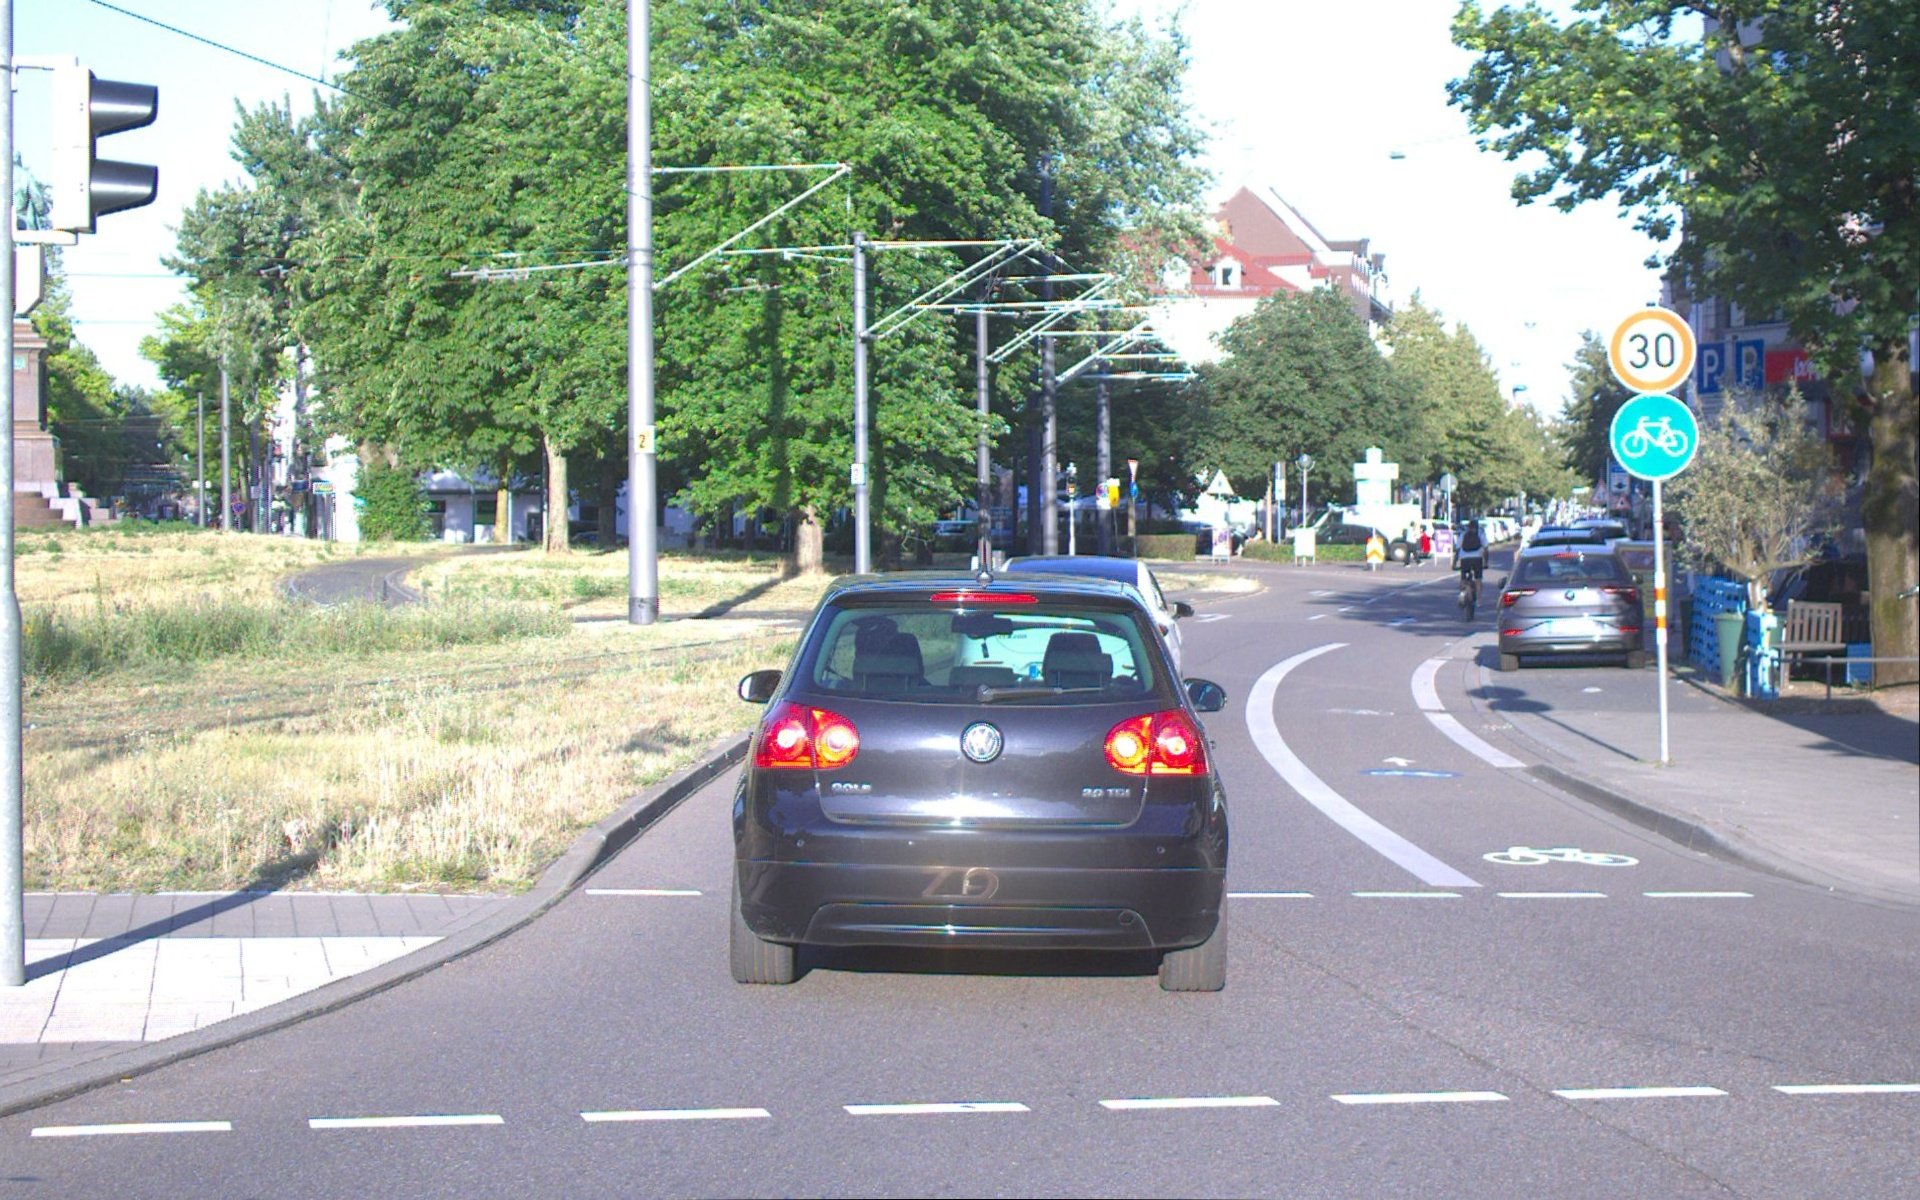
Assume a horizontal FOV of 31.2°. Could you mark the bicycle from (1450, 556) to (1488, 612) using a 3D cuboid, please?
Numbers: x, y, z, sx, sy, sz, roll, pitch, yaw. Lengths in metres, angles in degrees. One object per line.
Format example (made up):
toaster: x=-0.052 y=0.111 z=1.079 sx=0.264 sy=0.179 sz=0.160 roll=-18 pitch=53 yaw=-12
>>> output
bicycle: x=9.262 y=-0.304 z=62.558 sx=0.579 sy=0.984 sz=1.935 roll=1 pitch=1 yaw=11

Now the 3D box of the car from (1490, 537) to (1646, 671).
car: x=7.346 y=0.014 z=41.495 sx=1.729 sy=1.467 sz=3.897 roll=-2 pitch=1 yaw=10

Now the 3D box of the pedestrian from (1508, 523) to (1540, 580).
pedestrian: x=17.120 y=-1.486 z=104.409 sx=0.859 sy=1.700 sz=0.941 roll=1 pitch=1 yaw=5

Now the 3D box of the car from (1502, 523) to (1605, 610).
car: x=11.535 y=-0.672 z=66.655 sx=1.783 sy=1.551 sz=4.232 roll=-2 pitch=1 yaw=12

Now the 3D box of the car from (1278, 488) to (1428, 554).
car: x=15.681 y=-3.142 z=137.313 sx=5.509 sy=2.586 sz=2.155 roll=0 pitch=1 yaw=-15

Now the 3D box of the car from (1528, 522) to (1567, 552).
car: x=30.798 y=-3.316 z=180.150 sx=1.907 sy=1.546 sz=3.998 roll=0 pitch=2 yaw=11

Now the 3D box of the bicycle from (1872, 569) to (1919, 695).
bicycle: x=9.266 y=0.315 z=32.697 sx=0.420 sy=1.154 sz=1.756 roll=0 pitch=2 yaw=-11

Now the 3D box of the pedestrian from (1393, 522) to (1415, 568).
pedestrian: x=15.197 y=-1.881 z=117.646 sx=0.736 sy=1.549 sz=0.632 roll=1 pitch=1 yaw=8

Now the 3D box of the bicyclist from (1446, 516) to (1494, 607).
bicyclist: x=9.272 y=-0.707 z=62.525 sx=0.777 sy=1.613 sz=1.024 roll=2 pitch=1 yaw=11

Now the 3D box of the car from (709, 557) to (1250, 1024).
car: x=0.035 y=0.597 z=13.263 sx=1.747 sy=1.456 sz=4.104 roll=1 pitch=1 yaw=-1

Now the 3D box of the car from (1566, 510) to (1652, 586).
car: x=15.583 y=-1.261 z=82.709 sx=1.868 sy=1.708 sz=4.503 roll=-2 pitch=1 yaw=9

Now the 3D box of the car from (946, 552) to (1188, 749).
car: x=0.966 y=0.365 z=28.791 sx=1.865 sy=1.436 sz=4.197 roll=0 pitch=2 yaw=4

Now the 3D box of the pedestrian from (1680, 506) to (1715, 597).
pedestrian: x=15.272 y=-1.002 z=71.202 sx=0.623 sy=1.851 sz=0.661 roll=-2 pitch=1 yaw=12
